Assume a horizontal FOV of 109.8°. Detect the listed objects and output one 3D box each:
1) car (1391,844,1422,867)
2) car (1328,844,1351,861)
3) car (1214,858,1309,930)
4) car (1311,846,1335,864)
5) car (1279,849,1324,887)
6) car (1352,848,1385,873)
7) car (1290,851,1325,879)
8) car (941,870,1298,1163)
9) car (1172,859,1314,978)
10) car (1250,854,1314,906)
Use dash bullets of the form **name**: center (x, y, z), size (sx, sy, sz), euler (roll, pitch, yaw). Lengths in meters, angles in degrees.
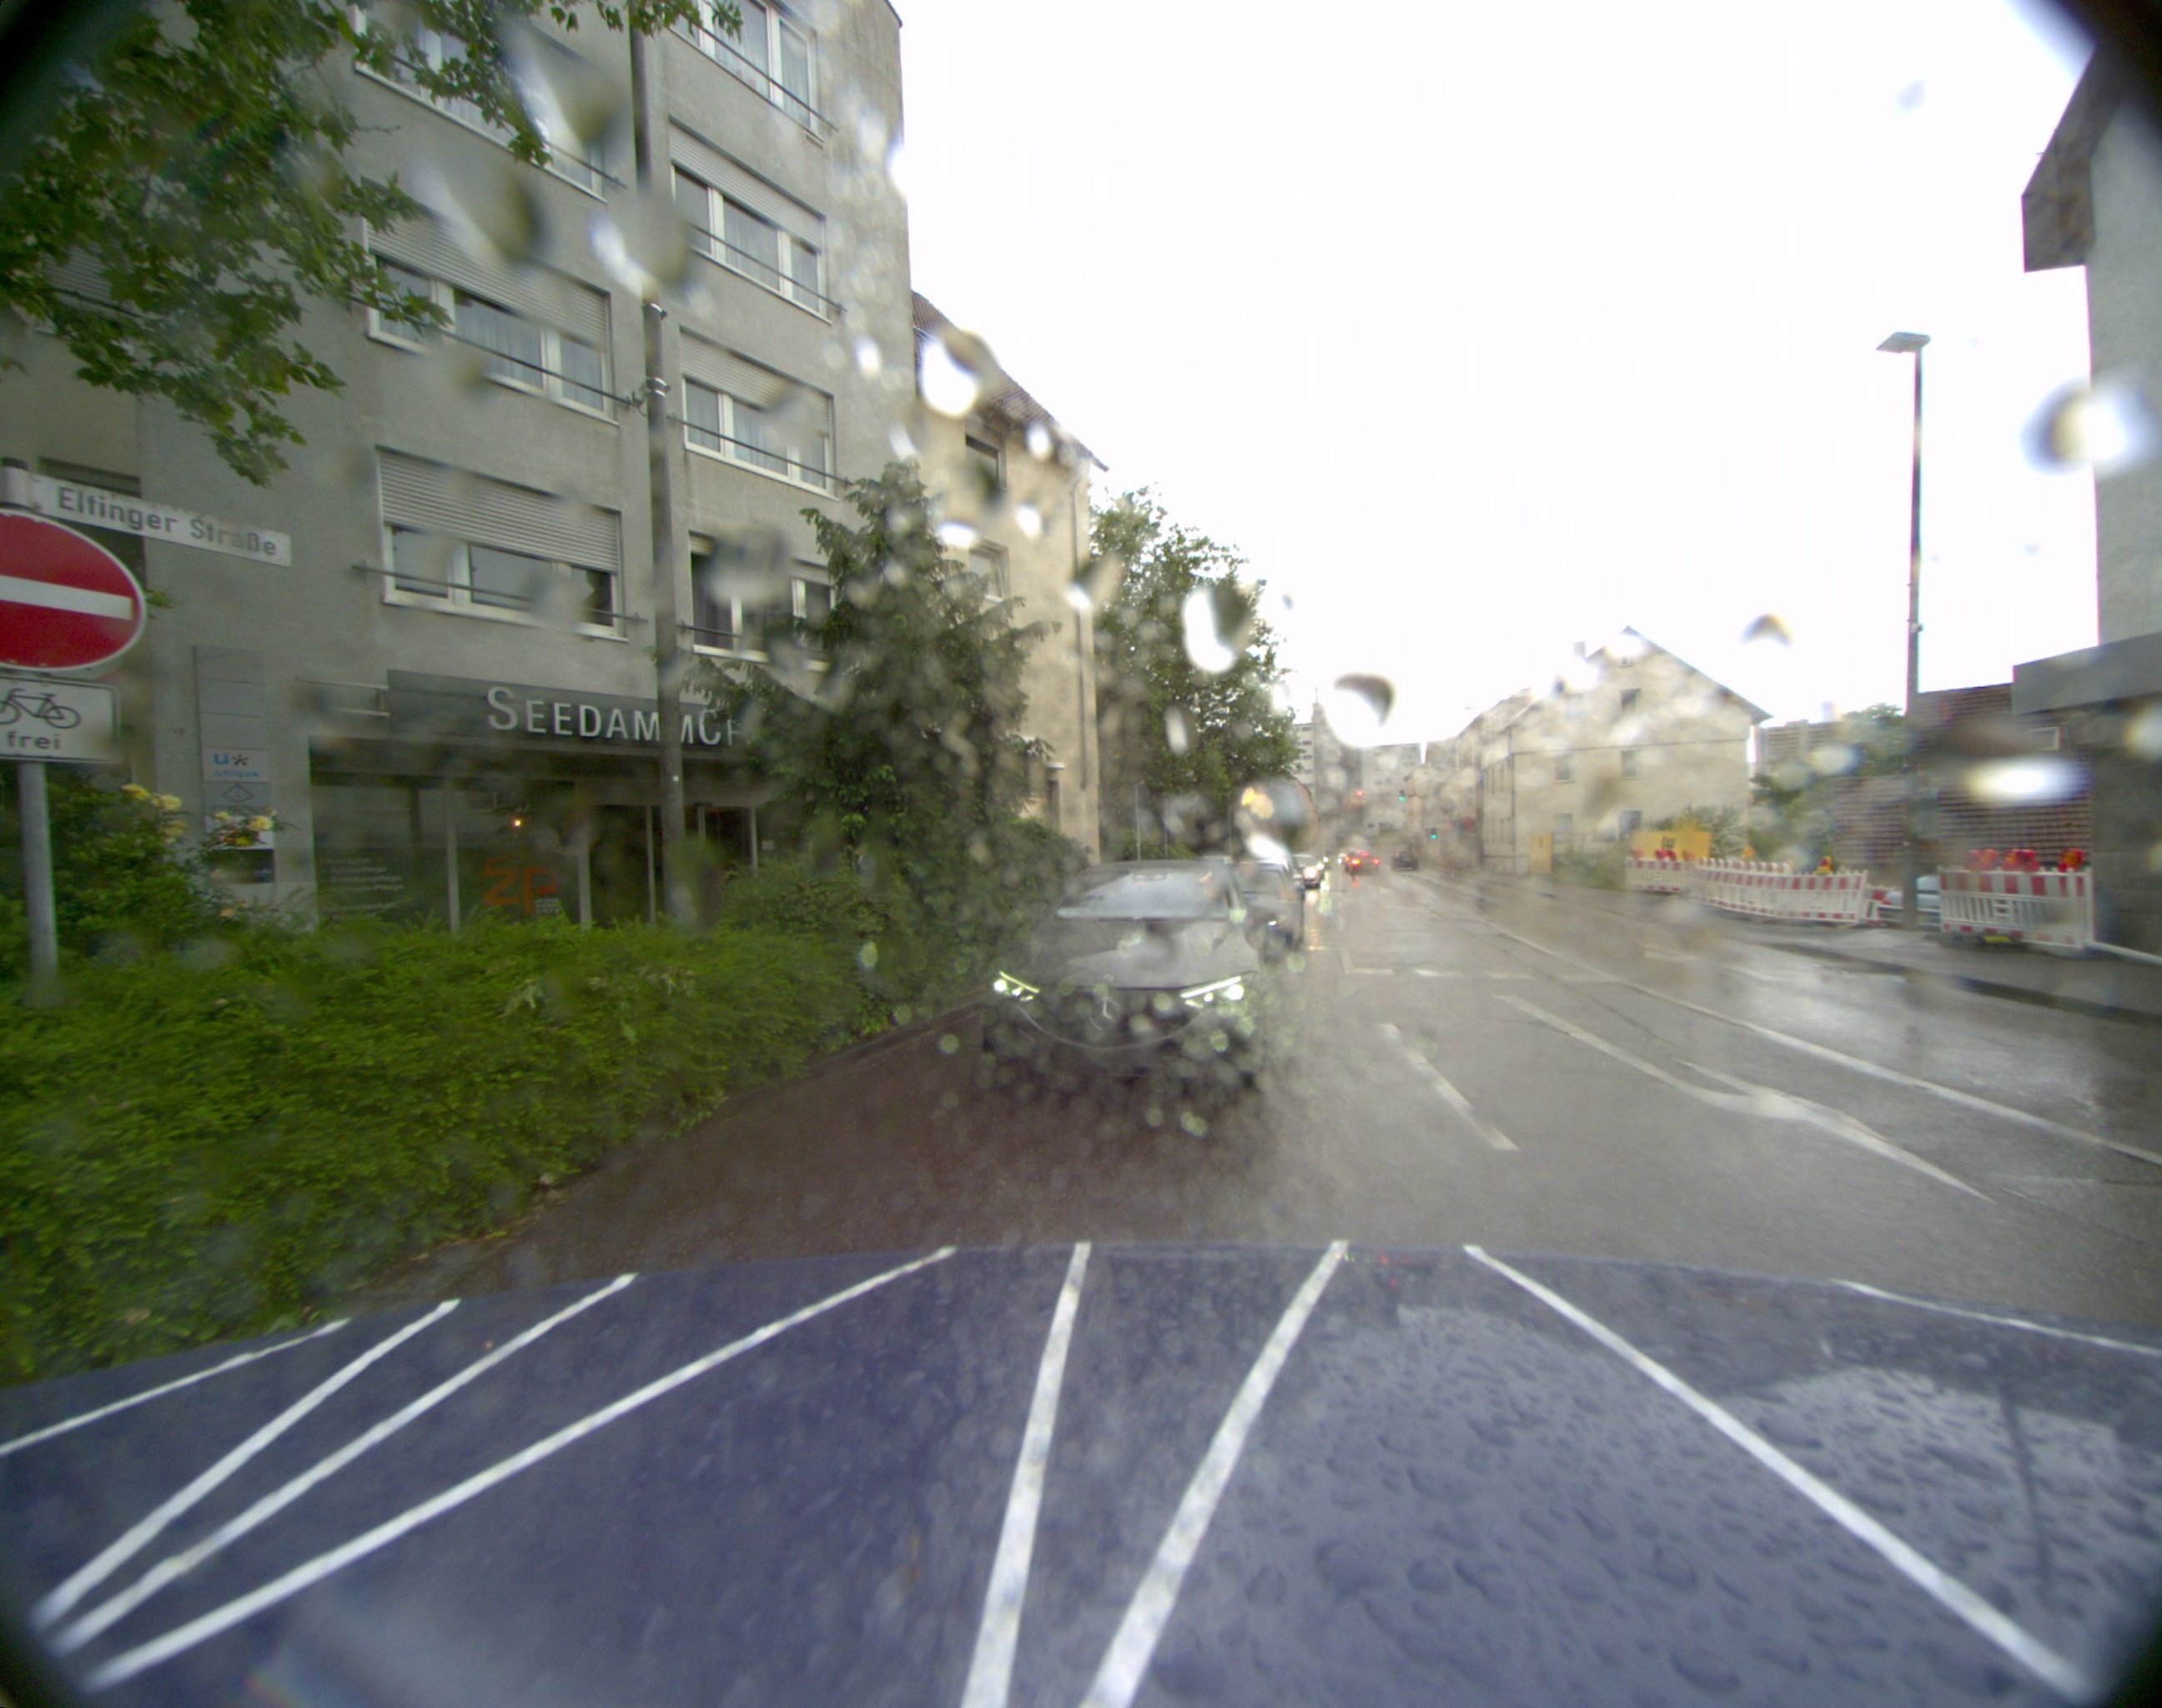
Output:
- **car**: center (24.228, 0.089, 56.695), size (1.810, 1.556, 4.005), euler (-1, 0, 19)
- **car**: center (27.055, -0.161, 79.562), size (1.996, 1.542, 4.007), euler (0, -3, 14)
- **car**: center (4.557, 0.918, 18.900), size (1.996, 1.444, 4.004), euler (-3, 0, 16)
- **car**: center (20.838, 0.076, 65.510), size (1.851, 1.469, 4.004), euler (-2, 0, 16)
- **car**: center (10.387, 0.632, 35.647), size (1.842, 1.612, 4.005), euler (-2, 0, 18)
- **car**: center (18.920, 0.406, 50.158), size (1.811, 1.556, 4.005), euler (-1, 0, 18)
- **car**: center (13.768, 0.618, 46.098), size (1.830, 1.542, 4.005), euler (-3, -1, 18)
- **car**: center (0.585, 0.976, 6.451), size (1.997, 1.484, 4.317), euler (-2, 0, 11)
- **car**: center (2.861, 0.919, 12.615), size (1.771, 1.524, 4.383), euler (-2, 0, 19)
- **car**: center (6.721, 0.816, 25.755), size (1.811, 1.556, 4.003), euler (-1, 0, 11)
